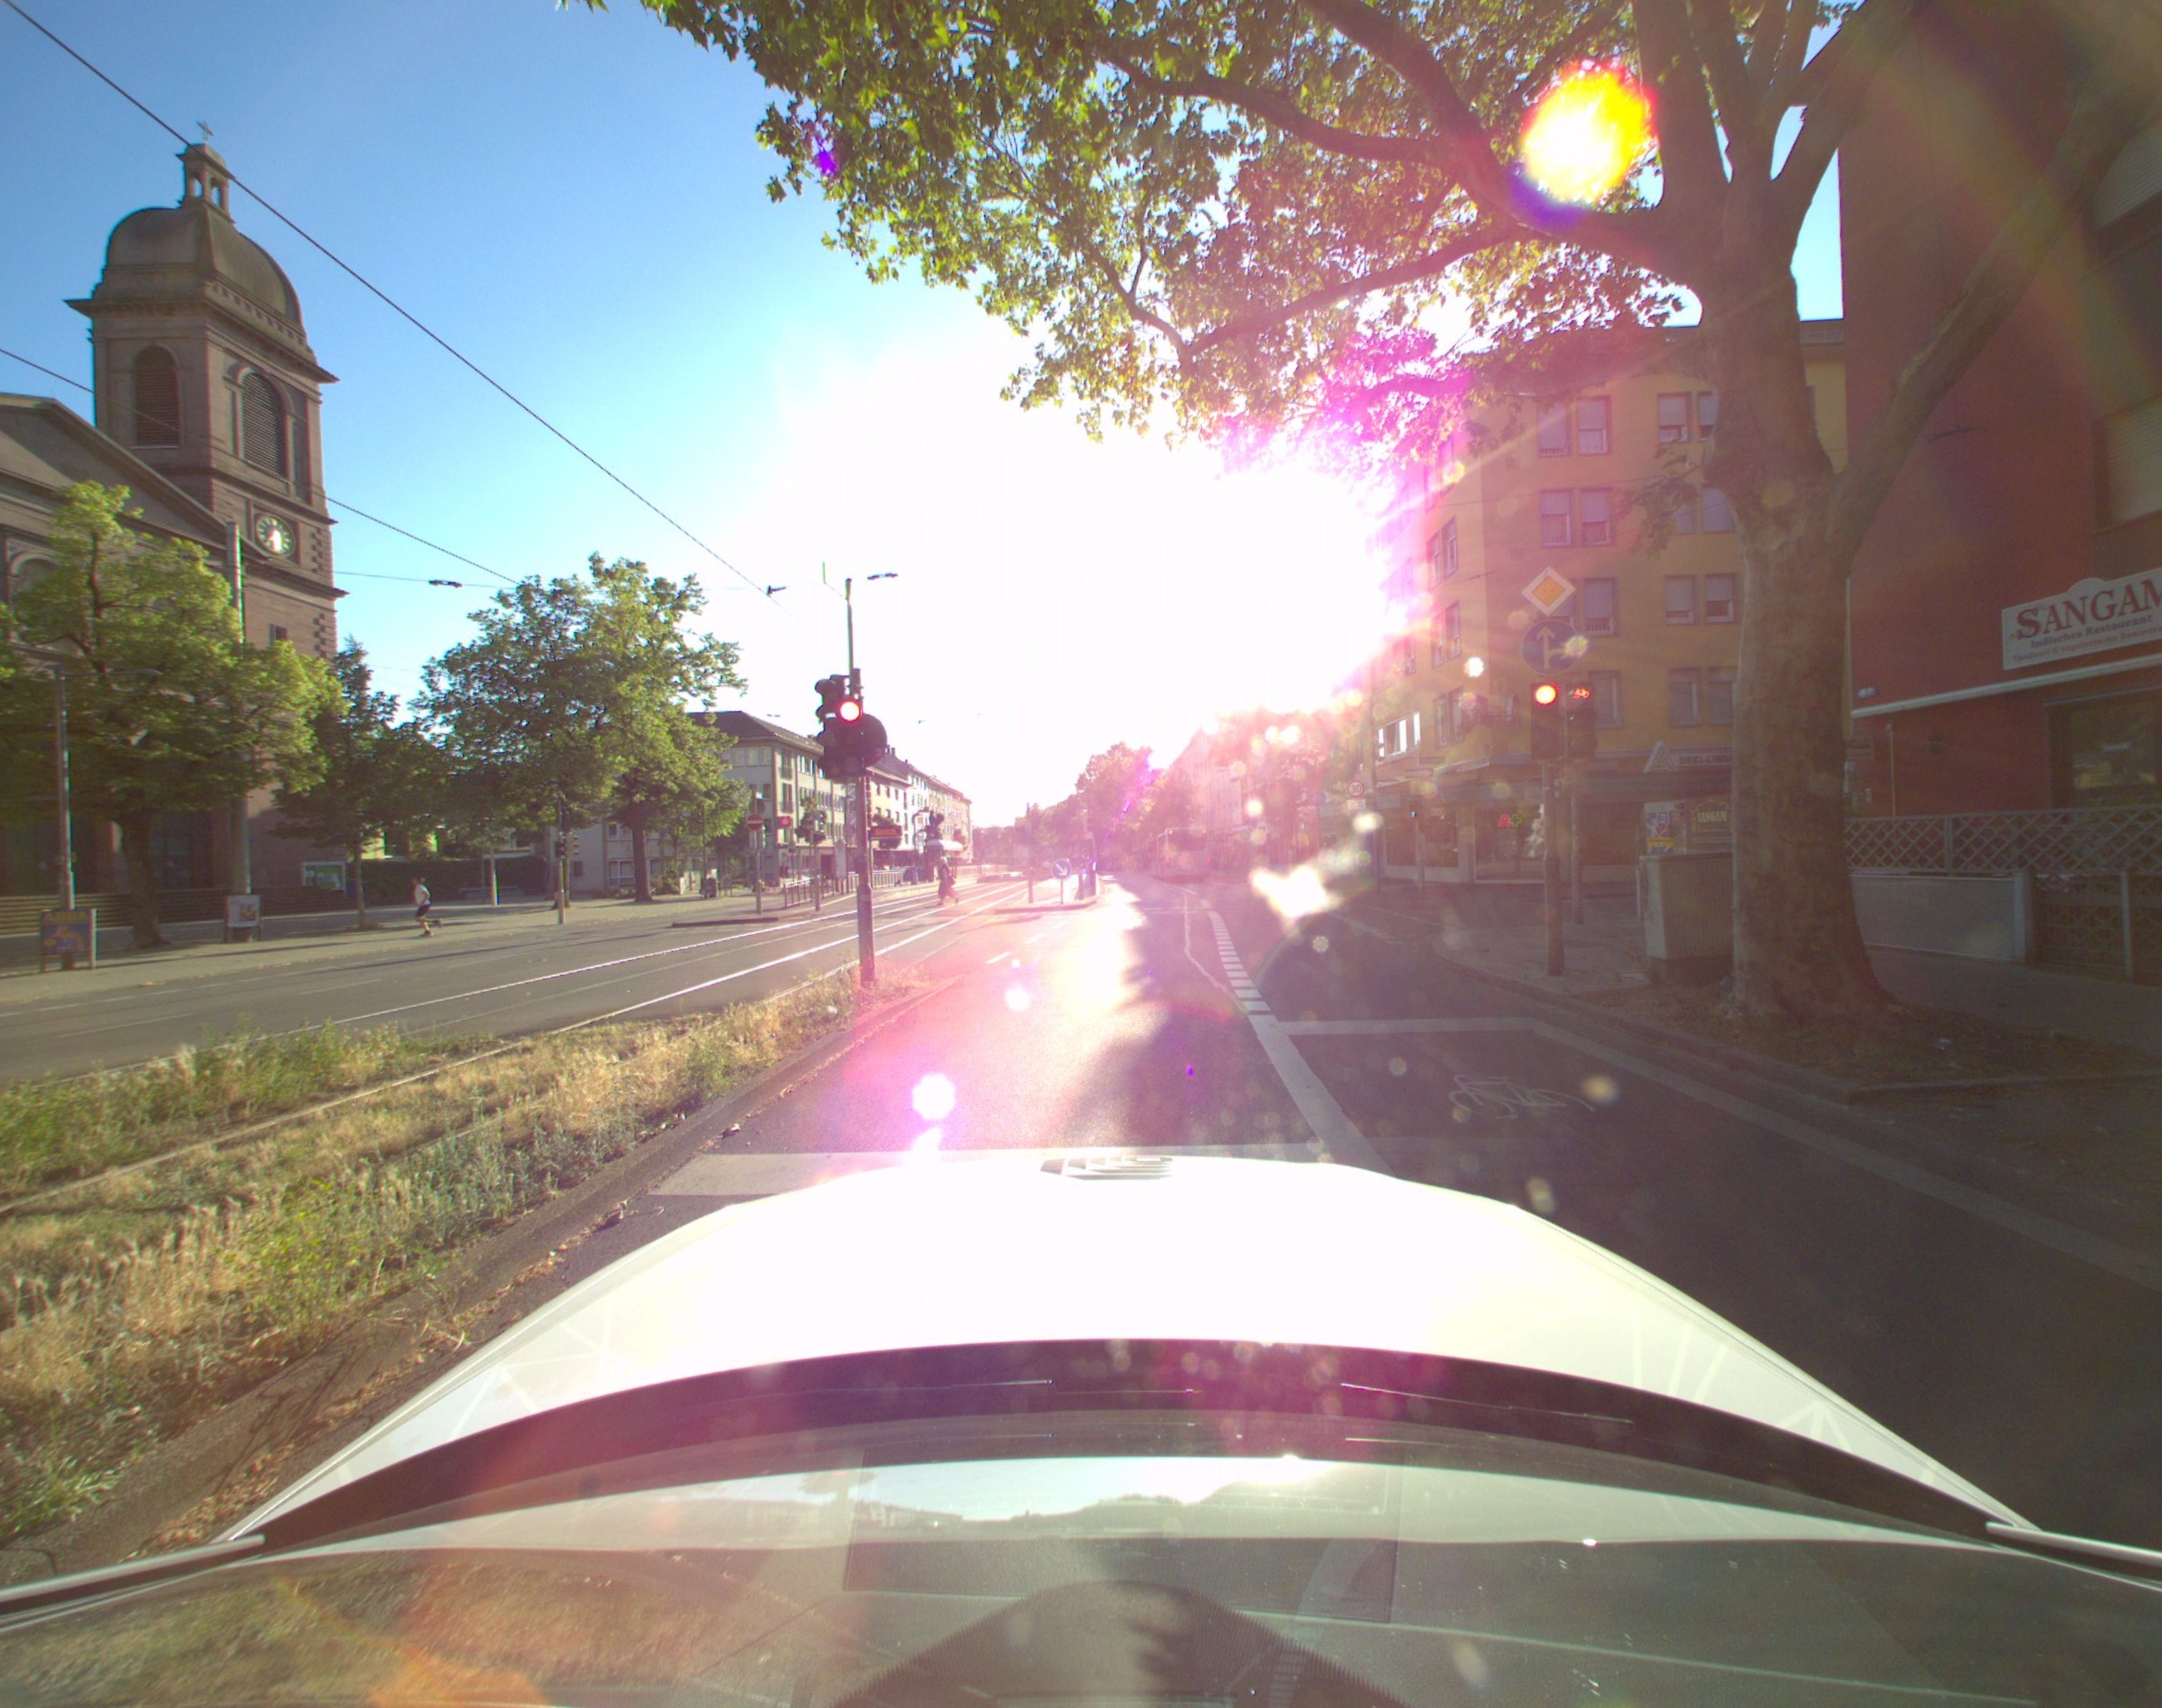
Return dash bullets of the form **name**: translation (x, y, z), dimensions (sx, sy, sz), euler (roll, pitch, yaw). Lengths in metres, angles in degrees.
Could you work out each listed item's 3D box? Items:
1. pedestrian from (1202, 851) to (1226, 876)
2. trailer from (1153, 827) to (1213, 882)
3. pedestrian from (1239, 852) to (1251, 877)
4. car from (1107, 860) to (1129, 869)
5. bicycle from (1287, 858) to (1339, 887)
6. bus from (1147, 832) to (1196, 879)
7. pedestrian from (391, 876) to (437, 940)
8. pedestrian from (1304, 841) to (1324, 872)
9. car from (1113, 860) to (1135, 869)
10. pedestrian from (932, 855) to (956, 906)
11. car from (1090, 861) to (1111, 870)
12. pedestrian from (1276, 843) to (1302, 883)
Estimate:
- **pedestrian**: translation (9.034, 0.665, 55.354), dimensions (1.151, 1.660, 1.178), euler (-2, 0, -19)
- **trailer**: translation (6.109, 0.058, 50.043), dimensions (2.801, 3.110, 8.797), euler (0, 0, 2)
- **pedestrian**: translation (10.759, 0.702, 53.337), dimensions (0.674, 1.628, 0.656), euler (0, -1, 2)
- **car**: translation (7.335, 2.055, 161.480), dimensions (3.911, 1.699, 1.817), euler (-2, 0, -27)
- **bicycle**: translation (8.901, 0.704, 31.247), dimensions (1.766, 1.021, 0.694), euler (-4, -1, 1)
- **bus**: translation (6.413, 0.121, 58.957), dimensions (2.801, 3.101, 9.097), euler (0, 0, 2)
- **pedestrian**: translation (-19.114, 1.530, 23.353), dimensions (0.678, 1.770, 0.686), euler (-2, 0, -5)
- **pedestrian**: translation (15.260, 0.164, 53.321), dimensions (0.984, 2.013, 0.929), euler (-2, 0, 2)
- **car**: translation (8.316, 2.054, 158.766), dimensions (3.911, 1.699, 1.817), euler (-2, 0, -27)
- **pedestrian**: translation (-4.926, 0.936, 29.341), dimensions (0.677, 1.770, 0.687), euler (-2, 0, 2)
- **car**: translation (4.056, 2.314, 166.495), dimensions (3.911, 1.596, 1.676), euler (-2, 0, -27)
- **pedestrian**: translation (10.842, 0.451, 42.453), dimensions (0.950, 2.013, 0.917), euler (-4, 0, 0)
